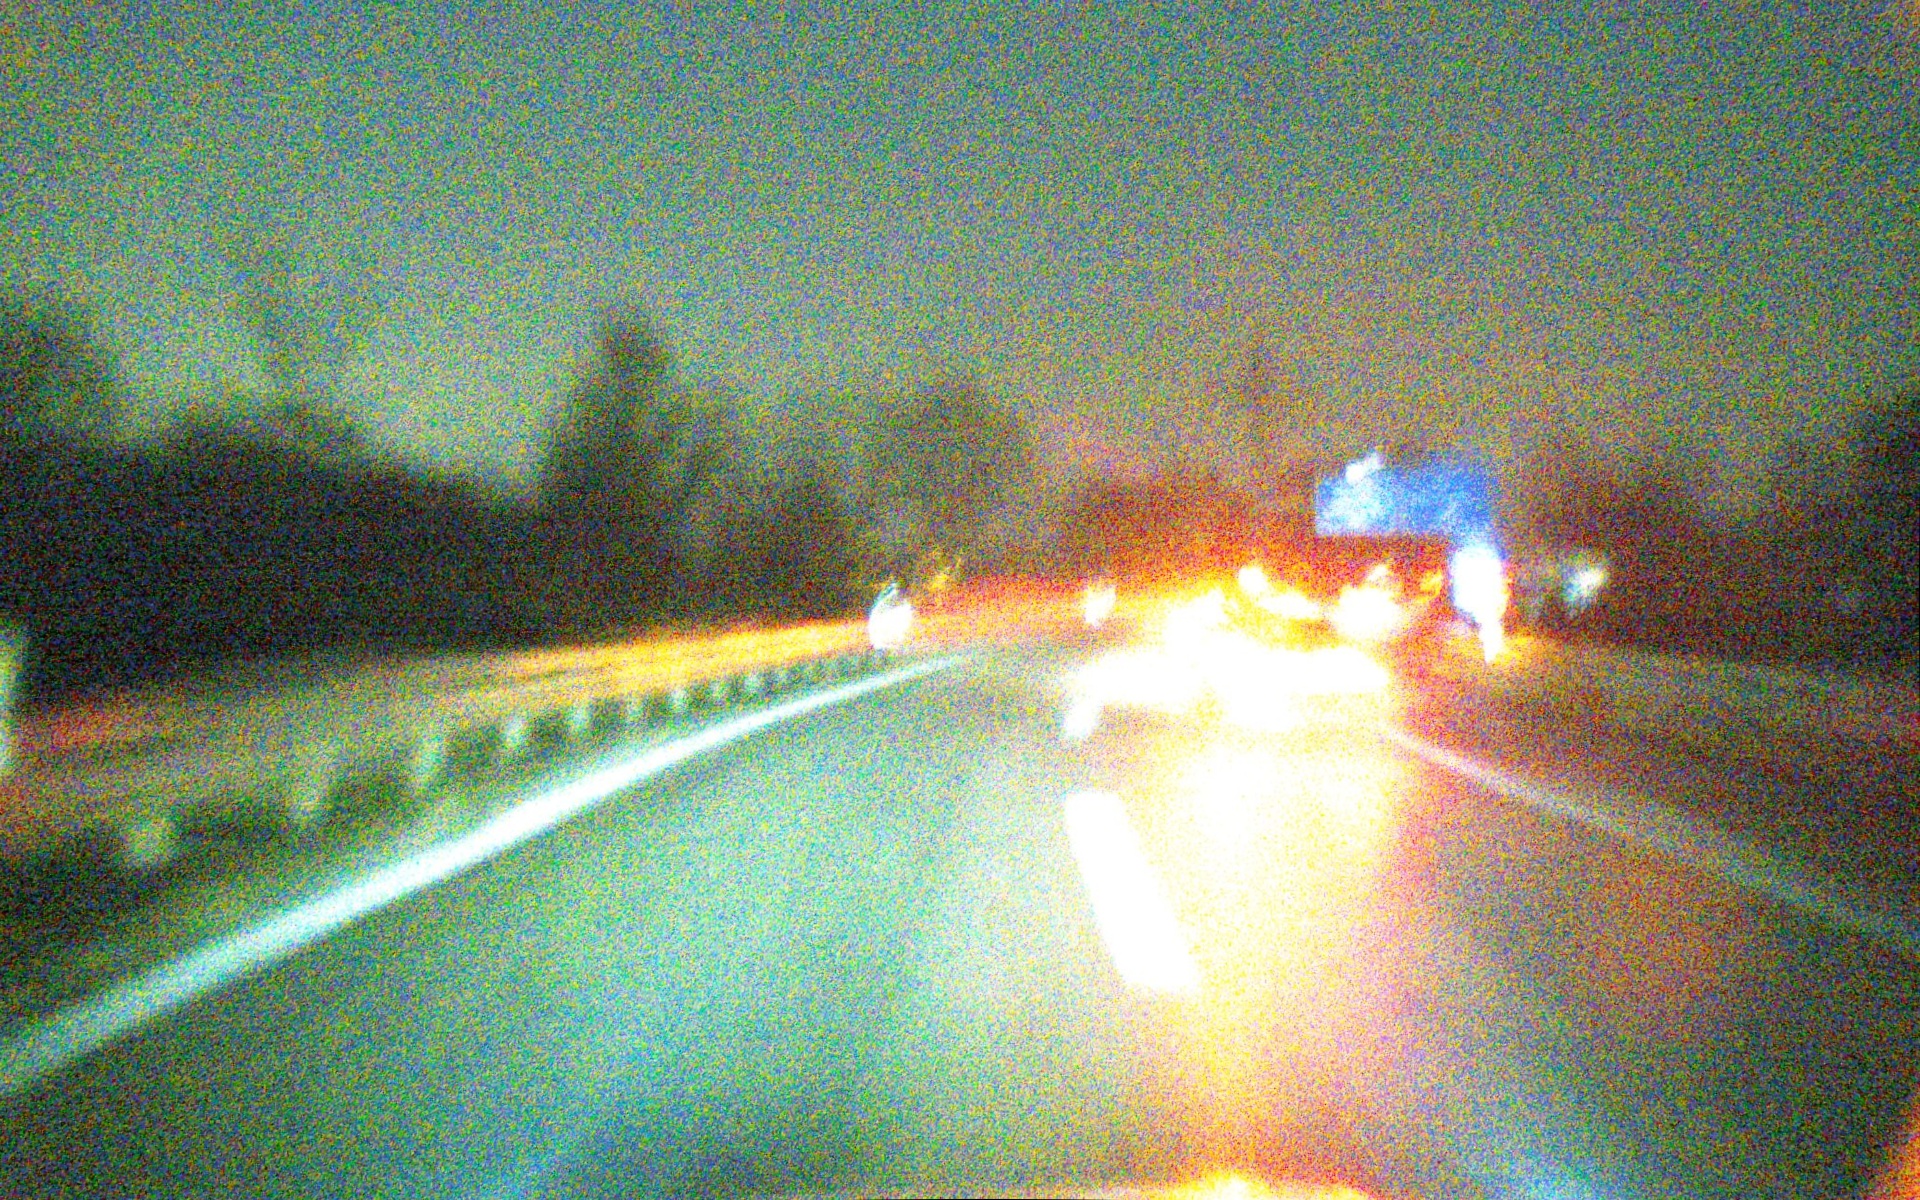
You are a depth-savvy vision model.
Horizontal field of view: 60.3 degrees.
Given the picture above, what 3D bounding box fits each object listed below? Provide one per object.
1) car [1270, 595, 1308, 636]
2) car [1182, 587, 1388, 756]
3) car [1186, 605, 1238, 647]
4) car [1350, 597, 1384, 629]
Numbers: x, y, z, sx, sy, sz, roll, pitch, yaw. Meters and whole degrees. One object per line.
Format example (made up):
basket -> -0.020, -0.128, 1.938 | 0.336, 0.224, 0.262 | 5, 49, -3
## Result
car -> 17.221, 0.820, 86.444 | 1.855, 2.076, 4.048 | 1, -1, 13
car -> 3.637, 0.743, 19.176 | 1.821, 1.676, 4.071 | 2, 0, 4
car -> 10.932, 1.107, 71.596 | 1.855, 1.751, 4.048 | 1, -1, 14
car -> 25.941, 0.837, 105.416 | 1.855, 2.033, 4.047 | 0, -1, 18
